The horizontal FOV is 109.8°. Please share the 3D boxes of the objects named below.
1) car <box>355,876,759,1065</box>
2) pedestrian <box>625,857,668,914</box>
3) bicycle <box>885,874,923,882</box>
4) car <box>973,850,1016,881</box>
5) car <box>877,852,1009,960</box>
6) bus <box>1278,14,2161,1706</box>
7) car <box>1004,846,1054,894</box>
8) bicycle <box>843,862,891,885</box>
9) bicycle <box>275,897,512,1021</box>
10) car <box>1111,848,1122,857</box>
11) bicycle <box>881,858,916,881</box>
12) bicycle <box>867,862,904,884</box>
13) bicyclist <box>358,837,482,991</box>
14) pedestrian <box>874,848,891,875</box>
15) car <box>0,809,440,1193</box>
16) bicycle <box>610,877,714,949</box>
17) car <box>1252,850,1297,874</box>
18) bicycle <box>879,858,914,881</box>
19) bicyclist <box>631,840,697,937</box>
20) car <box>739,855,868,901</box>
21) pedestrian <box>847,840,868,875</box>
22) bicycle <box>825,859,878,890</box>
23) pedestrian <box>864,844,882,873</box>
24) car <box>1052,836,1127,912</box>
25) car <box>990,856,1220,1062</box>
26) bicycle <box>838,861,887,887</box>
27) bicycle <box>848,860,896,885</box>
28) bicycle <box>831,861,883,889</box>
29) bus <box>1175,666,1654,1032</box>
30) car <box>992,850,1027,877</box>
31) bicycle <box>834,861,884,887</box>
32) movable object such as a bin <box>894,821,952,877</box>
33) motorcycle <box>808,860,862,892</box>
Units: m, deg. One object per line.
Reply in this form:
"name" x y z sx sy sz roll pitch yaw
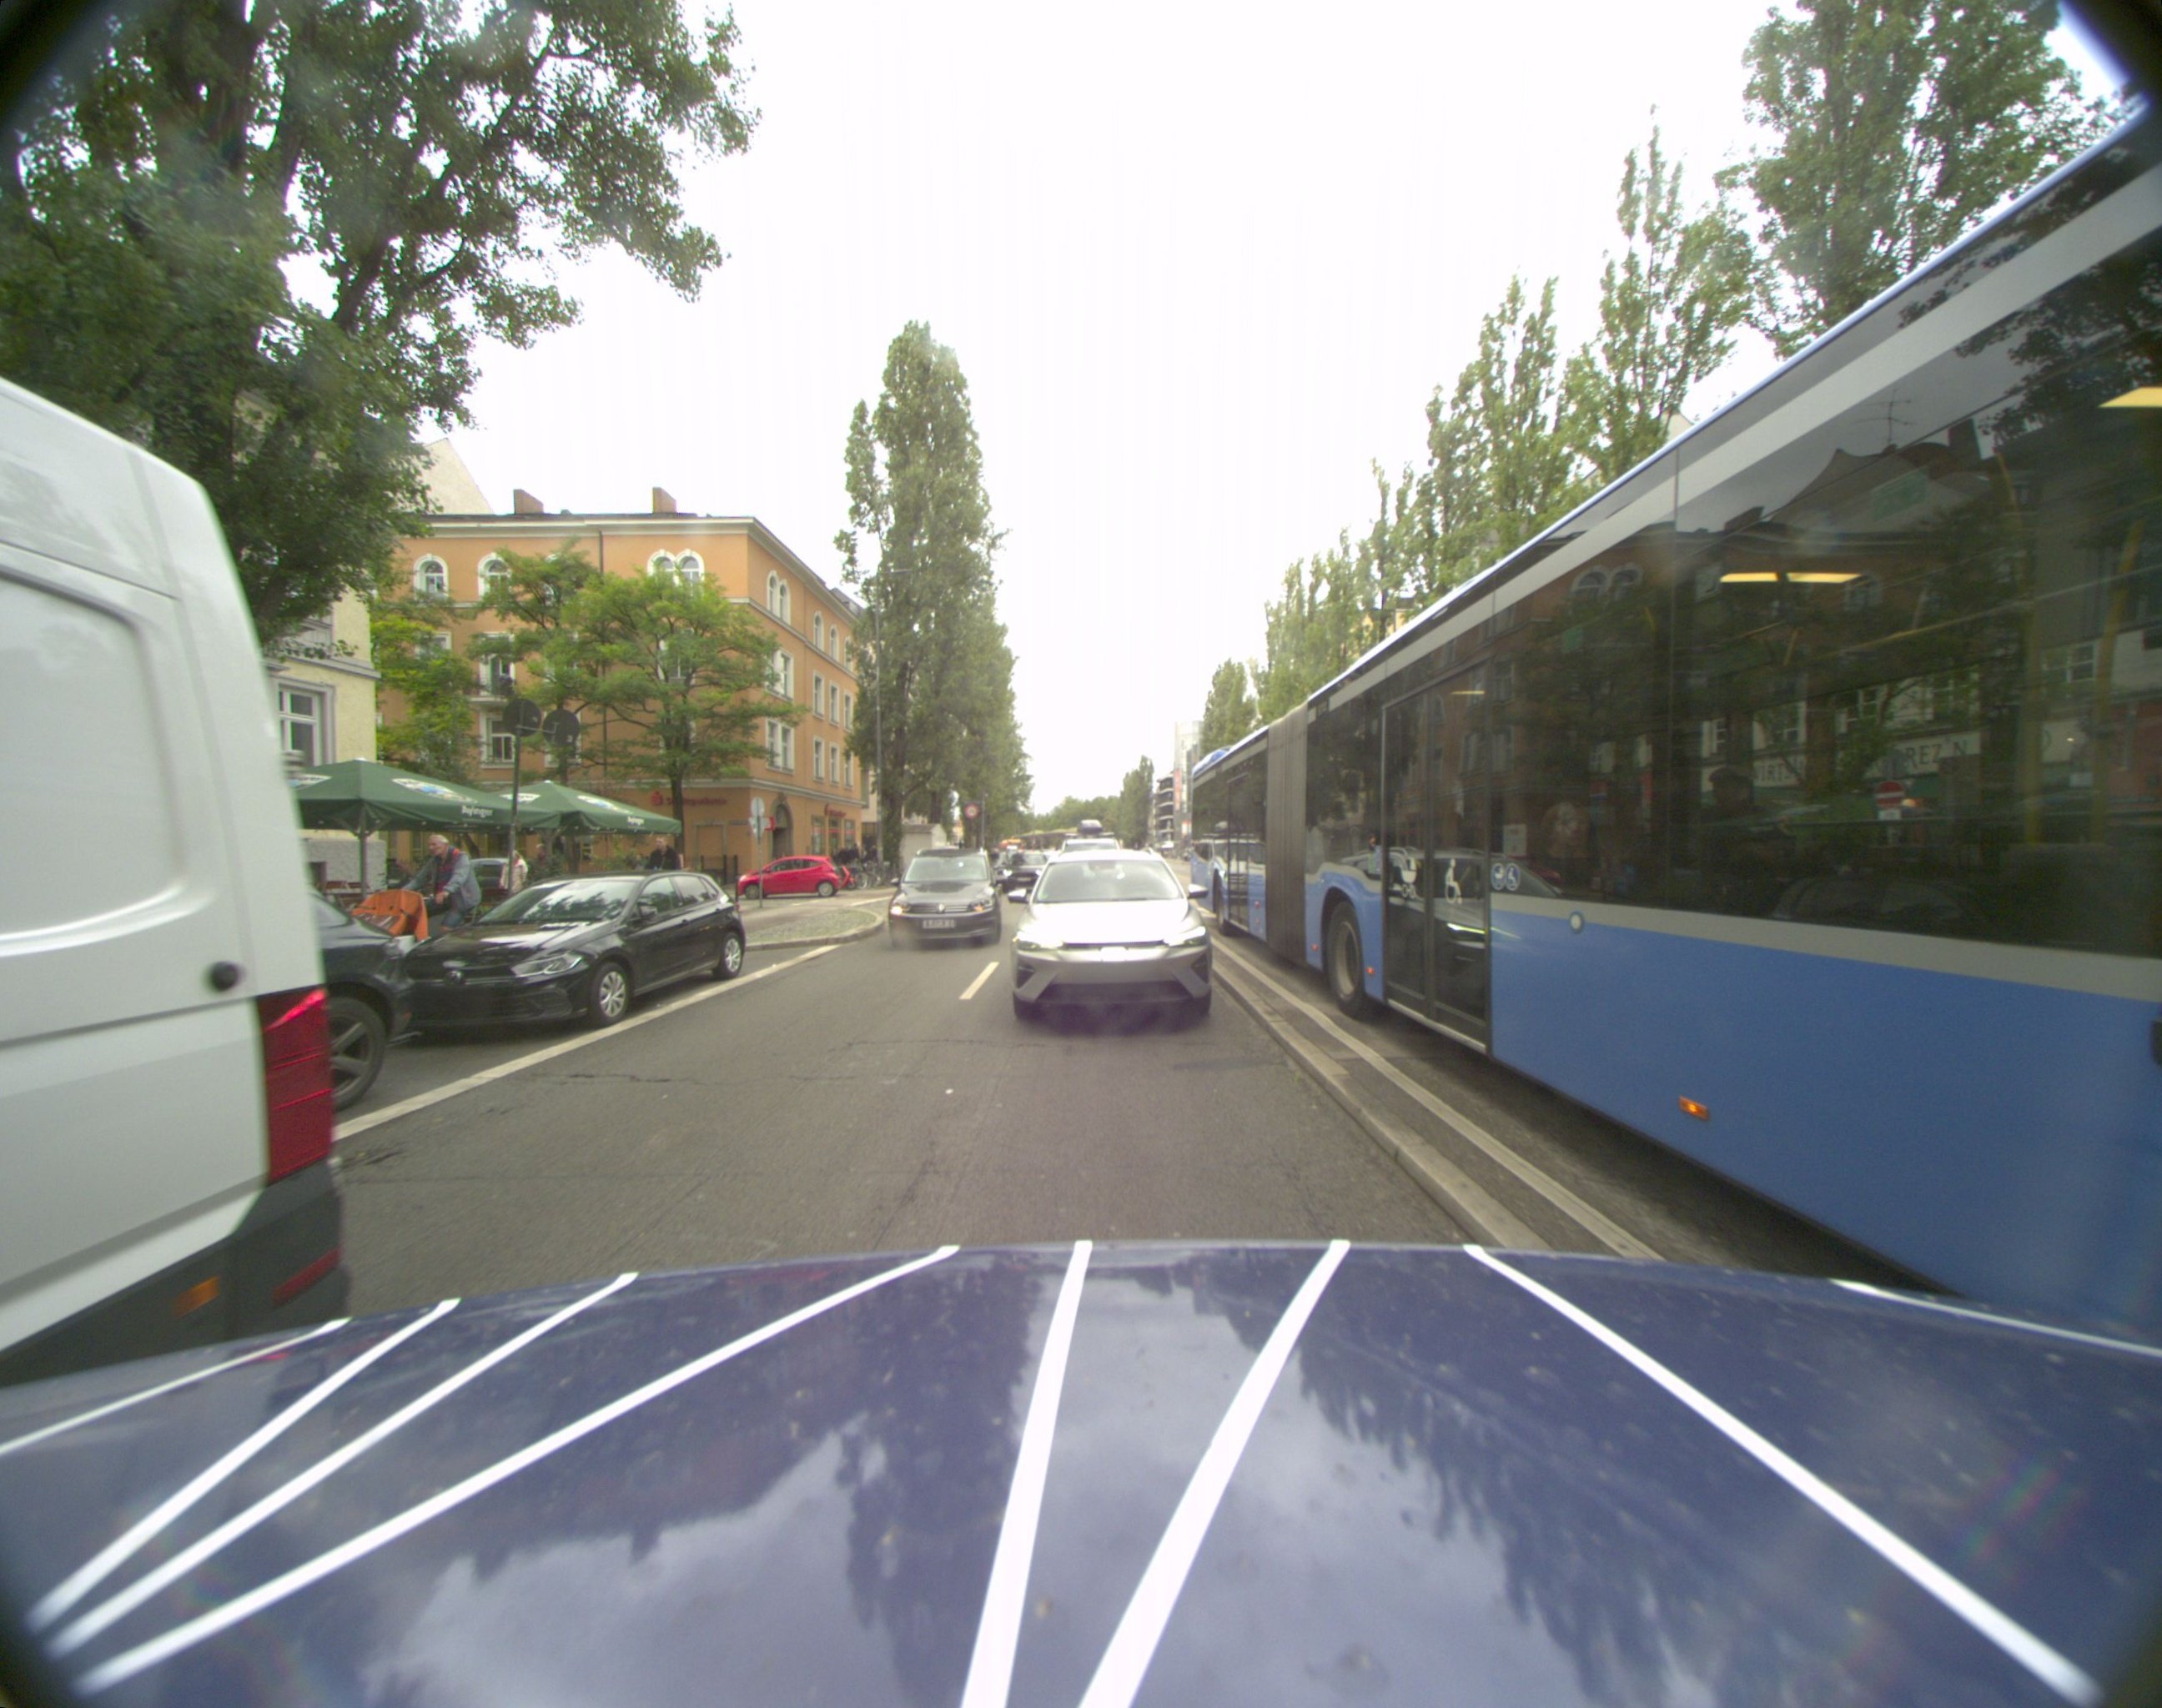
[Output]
"car" -5.201 1.027 8.316 1.698 1.408 3.950 -1 1 -1
"pedestrian" -12.378 0.886 21.669 0.745 1.562 0.664 -2 2 4
"bicycle" -8.441 1.143 36.360 1.677 0.371 0.830 1 0 -7
"car" -4.706 0.593 41.870 1.789 1.544 4.498 -2 1 0
"car" -2.325 0.795 13.854 1.883 1.582 4.190 -2 1 -4
"bus" 3.230 -0.003 2.391 2.696 2.932 10.051 0 1 0
"car" -1.971 0.559 29.895 1.706 1.683 4.002 -3 1 -1
"bicycle" -9.389 0.854 33.381 1.945 1.004 0.561 -1 1 2
"bicycle" -7.798 1.136 8.804 0.887 1.113 2.101 -1 1 -3
"car" 6.012 -0.327 129.708 1.718 1.532 4.076 1 1 1
"bicycle" -8.921 0.752 37.103 1.604 1.078 0.341 -1 1 -21
"bicycle" -9.157 0.900 35.617 1.602 1.004 0.342 -1 1 -6
"bicyclist" -7.812 0.676 9.011 0.831 1.747 0.667 -1 1 -4
"pedestrian" -11.902 0.466 45.532 0.745 1.562 0.614 -2 2 4
"car" -5.506 0.650 3.202 1.808 1.628 4.446 -2 1 -1
"bicycle" -7.470 1.017 13.691 0.737 1.113 2.101 -1 1 -1
"car" 12.365 0.476 48.812 1.802 1.432 4.574 0 1 1
"bicycle" -9.077 0.756 37.434 1.610 1.078 0.321 -1 1 -21
"bicyclist" -7.473 0.601 13.650 0.741 1.677 0.748 -1 1 -2
"car" -9.584 0.803 26.507 4.005 1.425 1.615 -2 1 -13
"pedestrian" -12.720 0.214 43.262 0.840 1.938 0.801 -2 2 -2
"bicycle" -9.291 0.815 30.738 1.945 1.232 0.561 -1 1 2
"pedestrian" -11.939 0.242 43.618 0.746 1.651 0.771 -2 2 -3
"car" 0.220 0.452 21.610 1.839 1.832 5.128 -2 1 0
"car" 0.193 0.831 7.967 1.742 1.510 4.033 -2 1 0
"bicycle" -9.403 0.847 32.777 1.945 1.069 0.561 -1 1 2
"bicycle" -9.378 0.817 34.129 1.945 1.078 0.561 -1 1 2
"bicycle" -9.251 0.851 31.382 1.945 1.130 0.561 -1 1 2
"bus" 3.308 -0.085 11.157 2.690 2.932 10.051 0 1 0
"car" -4.582 0.559 49.209 1.789 1.604 4.498 -2 1 0
"bicycle" -9.344 0.839 32.033 1.945 1.082 0.561 -1 1 2
"movable object such as a bin" -9.304 -0.304 45.165 2.445 3.119 4.543 1 1 1
"motorcycle" -9.639 0.853 29.777 1.963 1.214 0.514 -1 1 -25
